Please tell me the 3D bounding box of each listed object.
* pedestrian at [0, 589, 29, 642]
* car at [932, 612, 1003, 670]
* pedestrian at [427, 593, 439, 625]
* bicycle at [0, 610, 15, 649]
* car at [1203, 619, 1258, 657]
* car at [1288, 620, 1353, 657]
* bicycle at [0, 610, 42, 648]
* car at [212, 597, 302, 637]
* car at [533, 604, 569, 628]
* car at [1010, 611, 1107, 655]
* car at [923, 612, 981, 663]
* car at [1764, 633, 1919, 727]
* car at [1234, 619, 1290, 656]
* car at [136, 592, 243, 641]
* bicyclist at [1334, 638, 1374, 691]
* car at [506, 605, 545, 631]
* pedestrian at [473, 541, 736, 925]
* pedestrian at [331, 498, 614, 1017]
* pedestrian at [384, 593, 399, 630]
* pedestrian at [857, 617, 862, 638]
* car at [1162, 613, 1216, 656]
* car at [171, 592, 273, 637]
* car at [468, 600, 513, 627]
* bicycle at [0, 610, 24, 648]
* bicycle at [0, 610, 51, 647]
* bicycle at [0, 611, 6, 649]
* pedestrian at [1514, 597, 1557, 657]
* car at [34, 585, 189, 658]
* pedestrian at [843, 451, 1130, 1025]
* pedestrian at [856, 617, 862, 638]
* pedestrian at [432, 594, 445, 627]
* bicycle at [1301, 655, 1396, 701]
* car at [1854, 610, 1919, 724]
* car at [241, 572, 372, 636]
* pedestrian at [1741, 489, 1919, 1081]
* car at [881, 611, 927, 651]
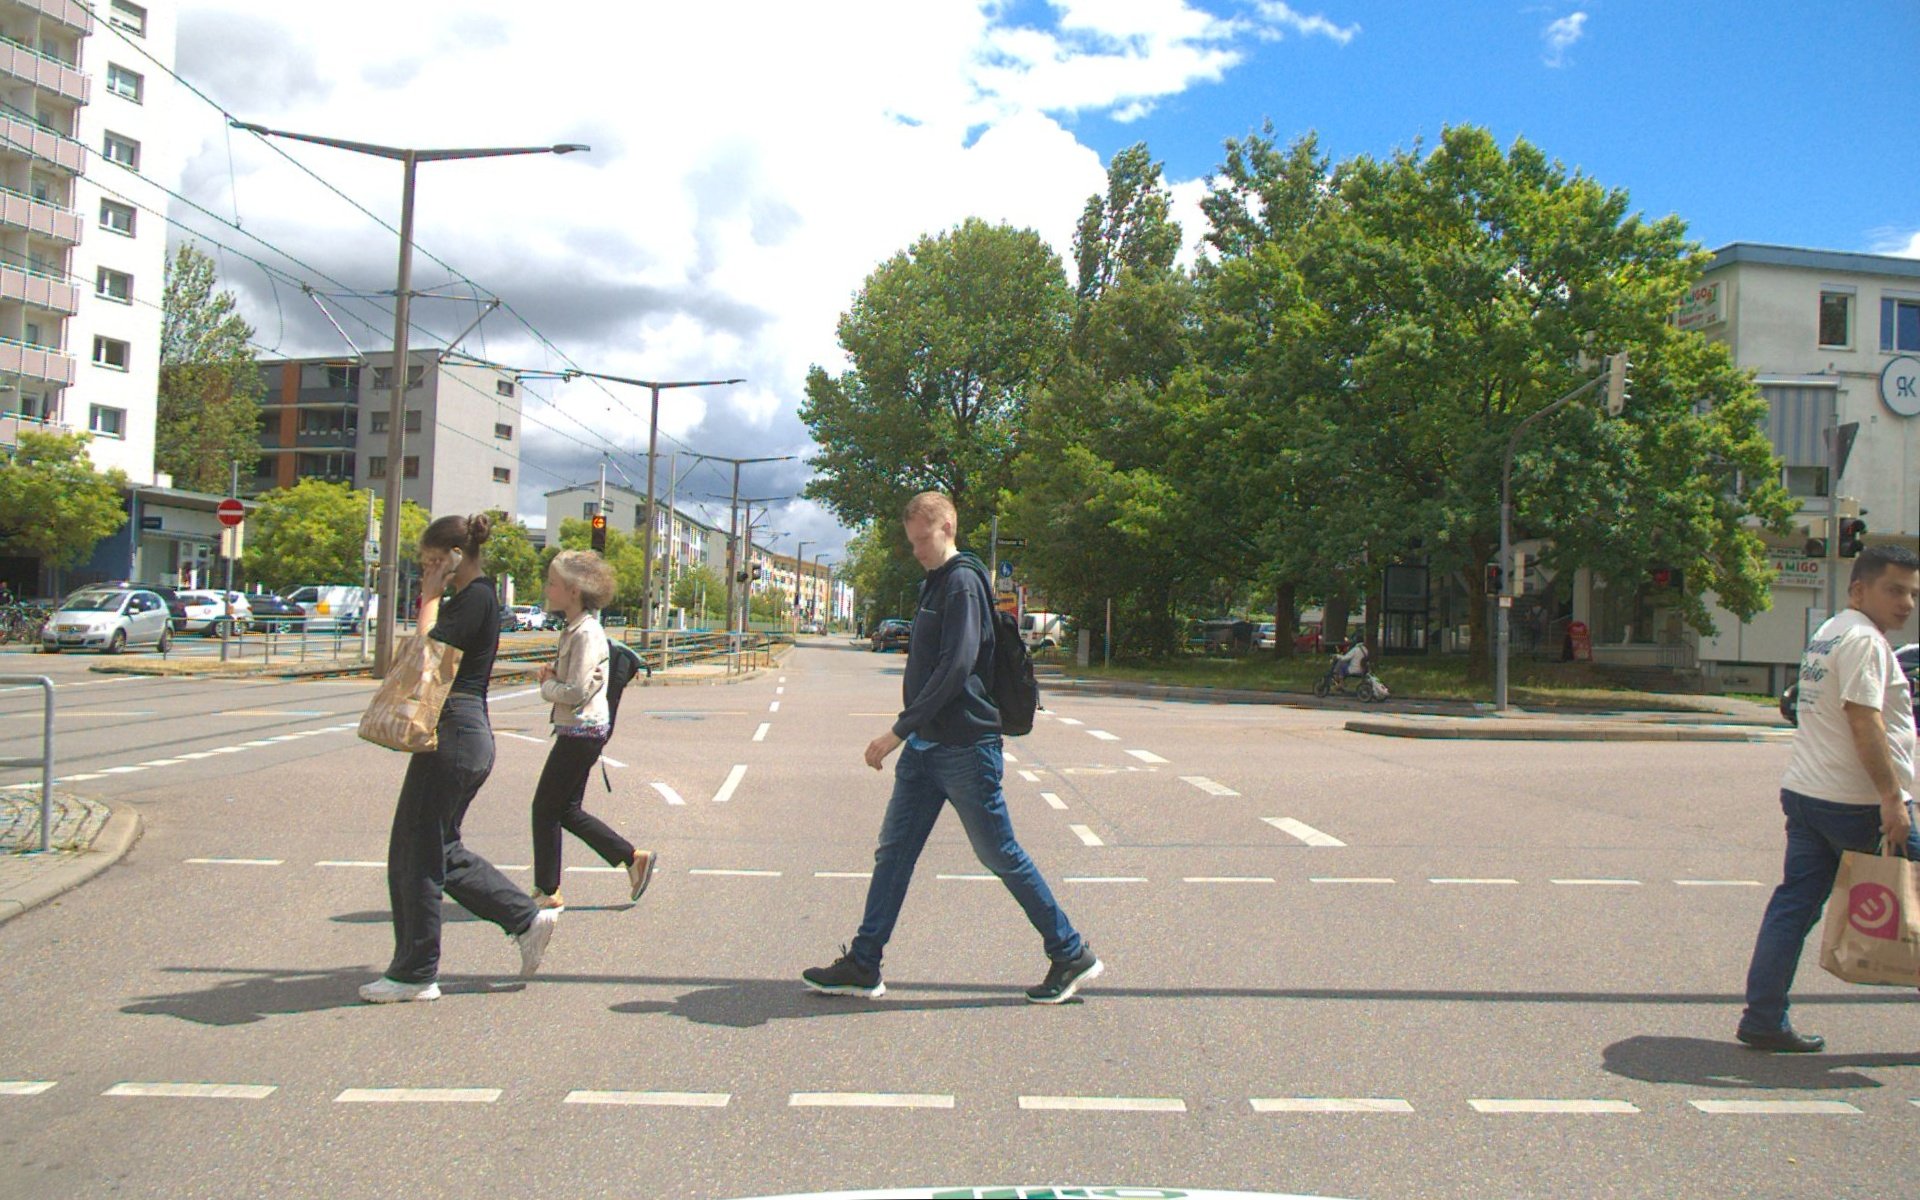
[{"bbox_3d":[-30.189,0.490,52.645,0.754,1.643,0.695,1,0,-16],"label":"pedestrian"},{"bbox_3d":[0.198,1.263,51.786,2.108,1.713,3.999,1,-1,-1],"label":"car"},{"bbox_3d":[-28.674,0.496,90.045,0.537,1.746,0.404,1,0,-11],"label":"pedestrian"},{"bbox_3d":[-24.945,0.728,41.672,1.910,0.951,0.494,1,-1,-7],"label":"bicycle"},{"bbox_3d":[12.308,1.726,75.505,1.598,1.600,4.029,1,0,-4],"label":"car"},{"bbox_3d":[16.800,1.771,77.252,1.698,1.623,3.993,1,0,-8],"label":"car"},{"bbox_3d":[-24.808,0.737,42.677,1.910,0.951,0.494,1,-1,-7],"label":"bicycle"},{"bbox_3d":[-27.199,0.637,63.952,4.147,1.445,1.777,1,0,45],"label":"car"},{"bbox_3d":[-25.836,1.009,104.668,1.728,1.419,3.993,1,0,-7],"label":"car"},{"bbox_3d":[4.384,1.472,73.371,3.933,1.855,1.766,1,0,-24],"label":"car"},{"bbox_3d":[-0.306,1.331,59.224,1.953,1.713,3.999,1,-1,-1],"label":"car"},{"bbox_3d":[16.957,1.439,30.046,3.838,1.583,1.994,1,0,-12],"label":"car"},{"bbox_3d":[13.980,1.718,76.710,1.598,1.623,3.997,1,0,-4],"label":"car"},{"bbox_3d":[-26.833,0.550,57.544,4.143,1.597,1.949,1,0,43],"label":"car"},{"bbox_3d":[8.095,1.314,33.955,0.621,1.040,0.793,1,0,26],"label":"bicyclist"},{"bbox_3d":[-25.738,1.059,98.077,1.728,1.419,3.993,1,0,-7],"label":"car"},{"bbox_3d":[-1.668,0.592,7.878,0.932,1.703,0.871,0,0,14],"label":"pedestrian"},{"bbox_3d":[-1.787,0.553,6.200,0.917,1.796,0.770,1,0,-12],"label":"pedestrian"},{"bbox_3d":[-27.100,0.559,78.802,0.536,1.746,0.405,1,0,-1],"label":"pedestrian"},{"bbox_3d":[-8.108,2.213,133.195,0.328,1.656,0.356,1,0,-19],"label":"pedestrian"},{"bbox_3d":[10.325,1.532,74.706,1.598,1.842,4.029,1,0,-4],"label":"car"},{"bbox_3d":[-27.150,0.530,60.786,4.143,1.564,1.949,1,0,43],"label":"car"},{"bbox_3d":[-25.718,0.710,90.681,1.728,1.419,3.993,1,0,-7],"label":"car"},{"bbox_3d":[-24.996,0.731,42.161,1.910,0.951,0.494,1,-1,-7],"label":"bicycle"},{"bbox_3d":[-24.855,0.739,43.167,1.910,0.951,0.494,1,-1,-7],"label":"bicycle"},{"bbox_3d":[-24.899,0.726,41.197,1.910,0.951,0.494,1,-1,-7],"label":"bicycle"},{"bbox_3d":[16.342,0.766,46.971,0.755,1.672,0.904,2,0,-15],"label":"pedestrian"},{"bbox_3d":[-21.265,0.520,41.620,1.898,1.723,3.872,1,0,-1],"label":"car"},{"bbox_3d":[0.064,0.484,6.190,0.947,1.976,0.896,1,0,-5],"label":"pedestrian"},{"bbox_3d":[-8.126,2.223,133.176,0.469,1.665,0.454,1,0,-2],"label":"pedestrian"},{"bbox_3d":[-27.687,0.556,87.853,0.537,1.746,0.667,1,0,-11],"label":"pedestrian"},{"bbox_3d":[7.990,1.594,34.003,1.766,0.833,0.793,2,0,26],"label":"bicycle"},{"bbox_3d":[16.923,1.080,26.276,4.472,1.747,1.997,1,0,-8],"label":"car"},{"bbox_3d":[-27.333,0.135,69.023,2.811,2.522,6.614,1,0,-44],"label":"car"},{"bbox_3d":[3.246,0.582,5.546,0.851,1.839,0.741,1,0,-5],"label":"pedestrian"},{"bbox_3d":[-2.514,1.365,74.488,1.953,1.713,3.999,1,0,-1],"label":"car"}]
